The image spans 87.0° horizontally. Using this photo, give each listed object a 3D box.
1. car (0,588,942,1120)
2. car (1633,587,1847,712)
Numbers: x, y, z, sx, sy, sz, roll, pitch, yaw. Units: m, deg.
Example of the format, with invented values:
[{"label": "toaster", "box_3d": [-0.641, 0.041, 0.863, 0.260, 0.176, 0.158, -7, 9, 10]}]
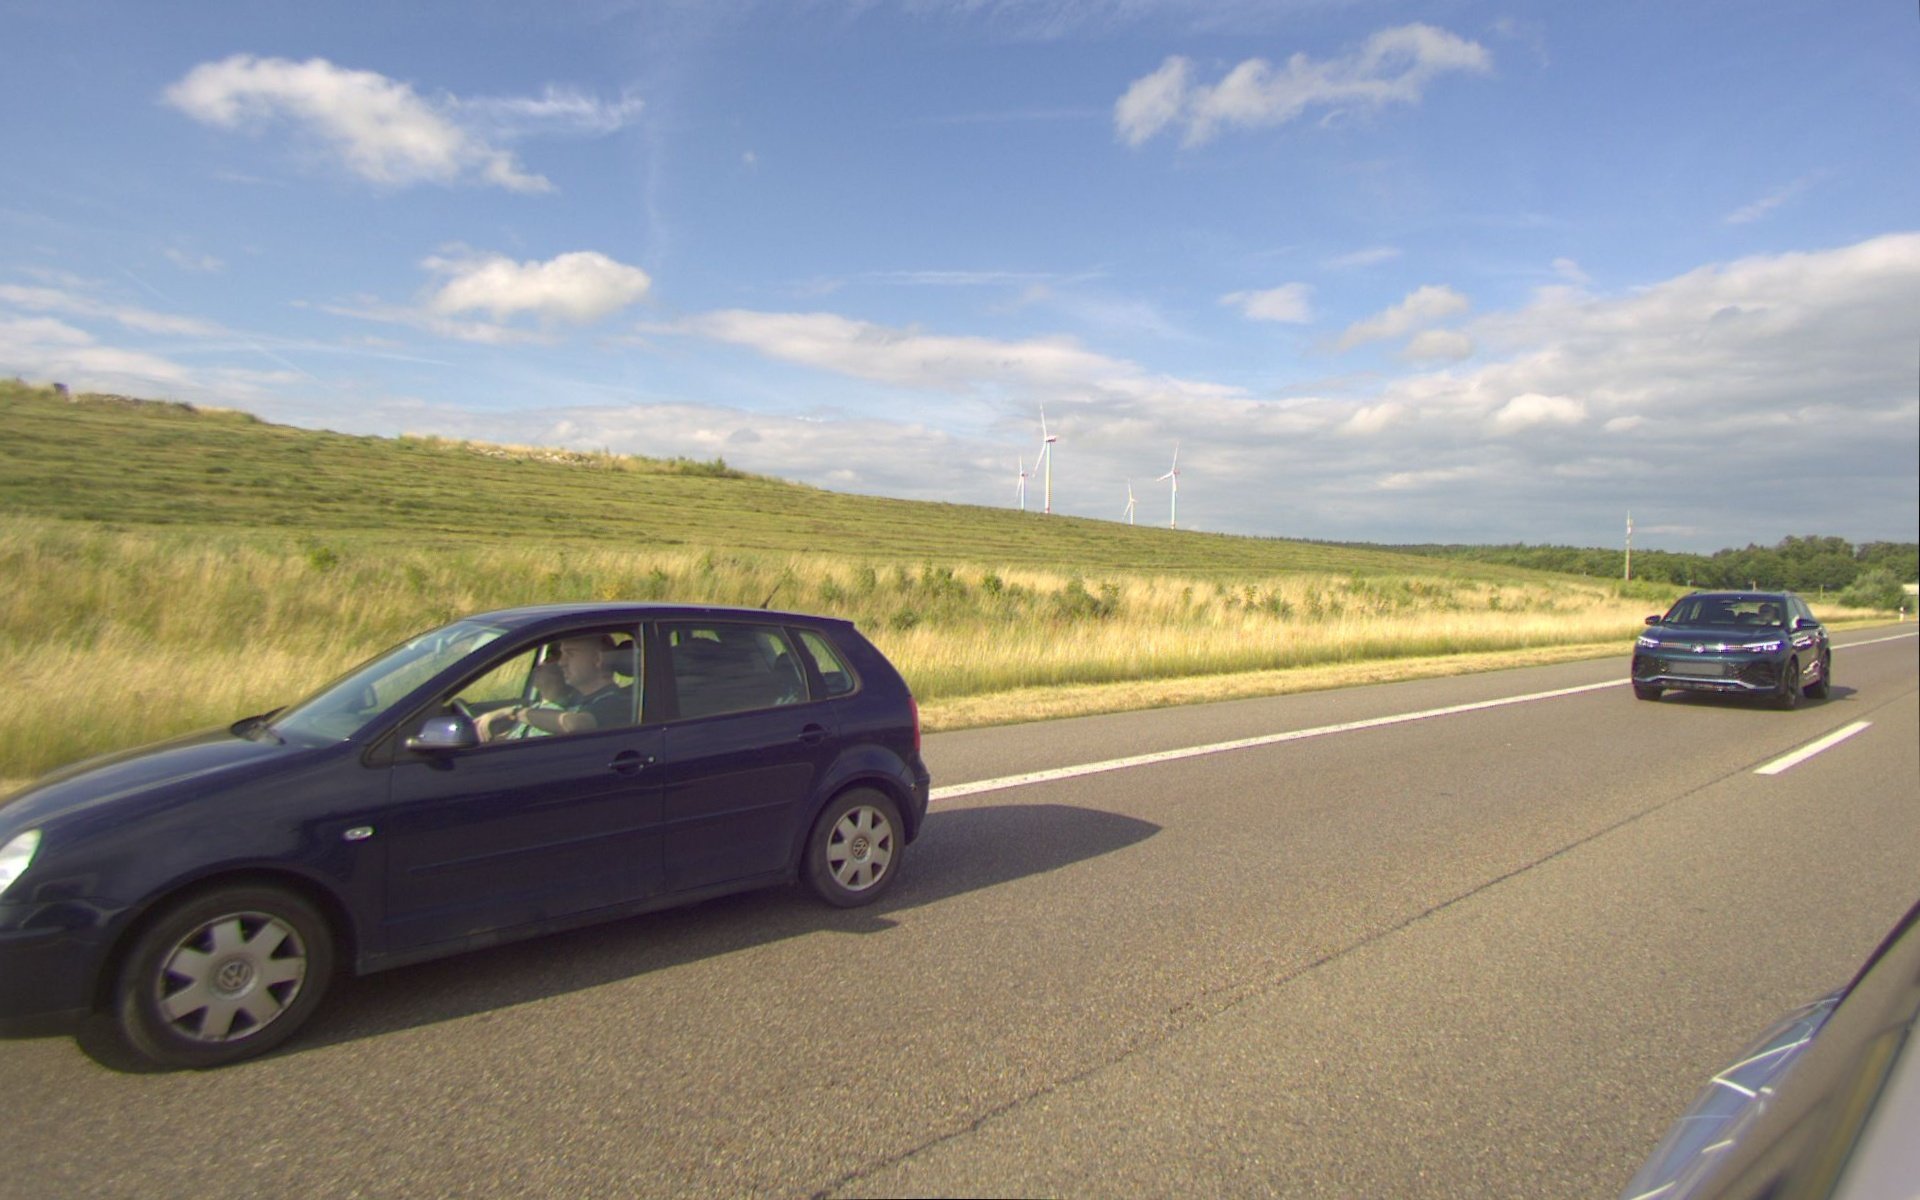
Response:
[{"label": "car", "box_3d": [-1.962, 0.675, 4.426, 3.609, 1.438, 1.608, -1, 0, -42]}, {"label": "car", "box_3d": [11.797, 0.619, 15.215, 4.162, 1.621, 1.823, -1, 0, -42]}]
